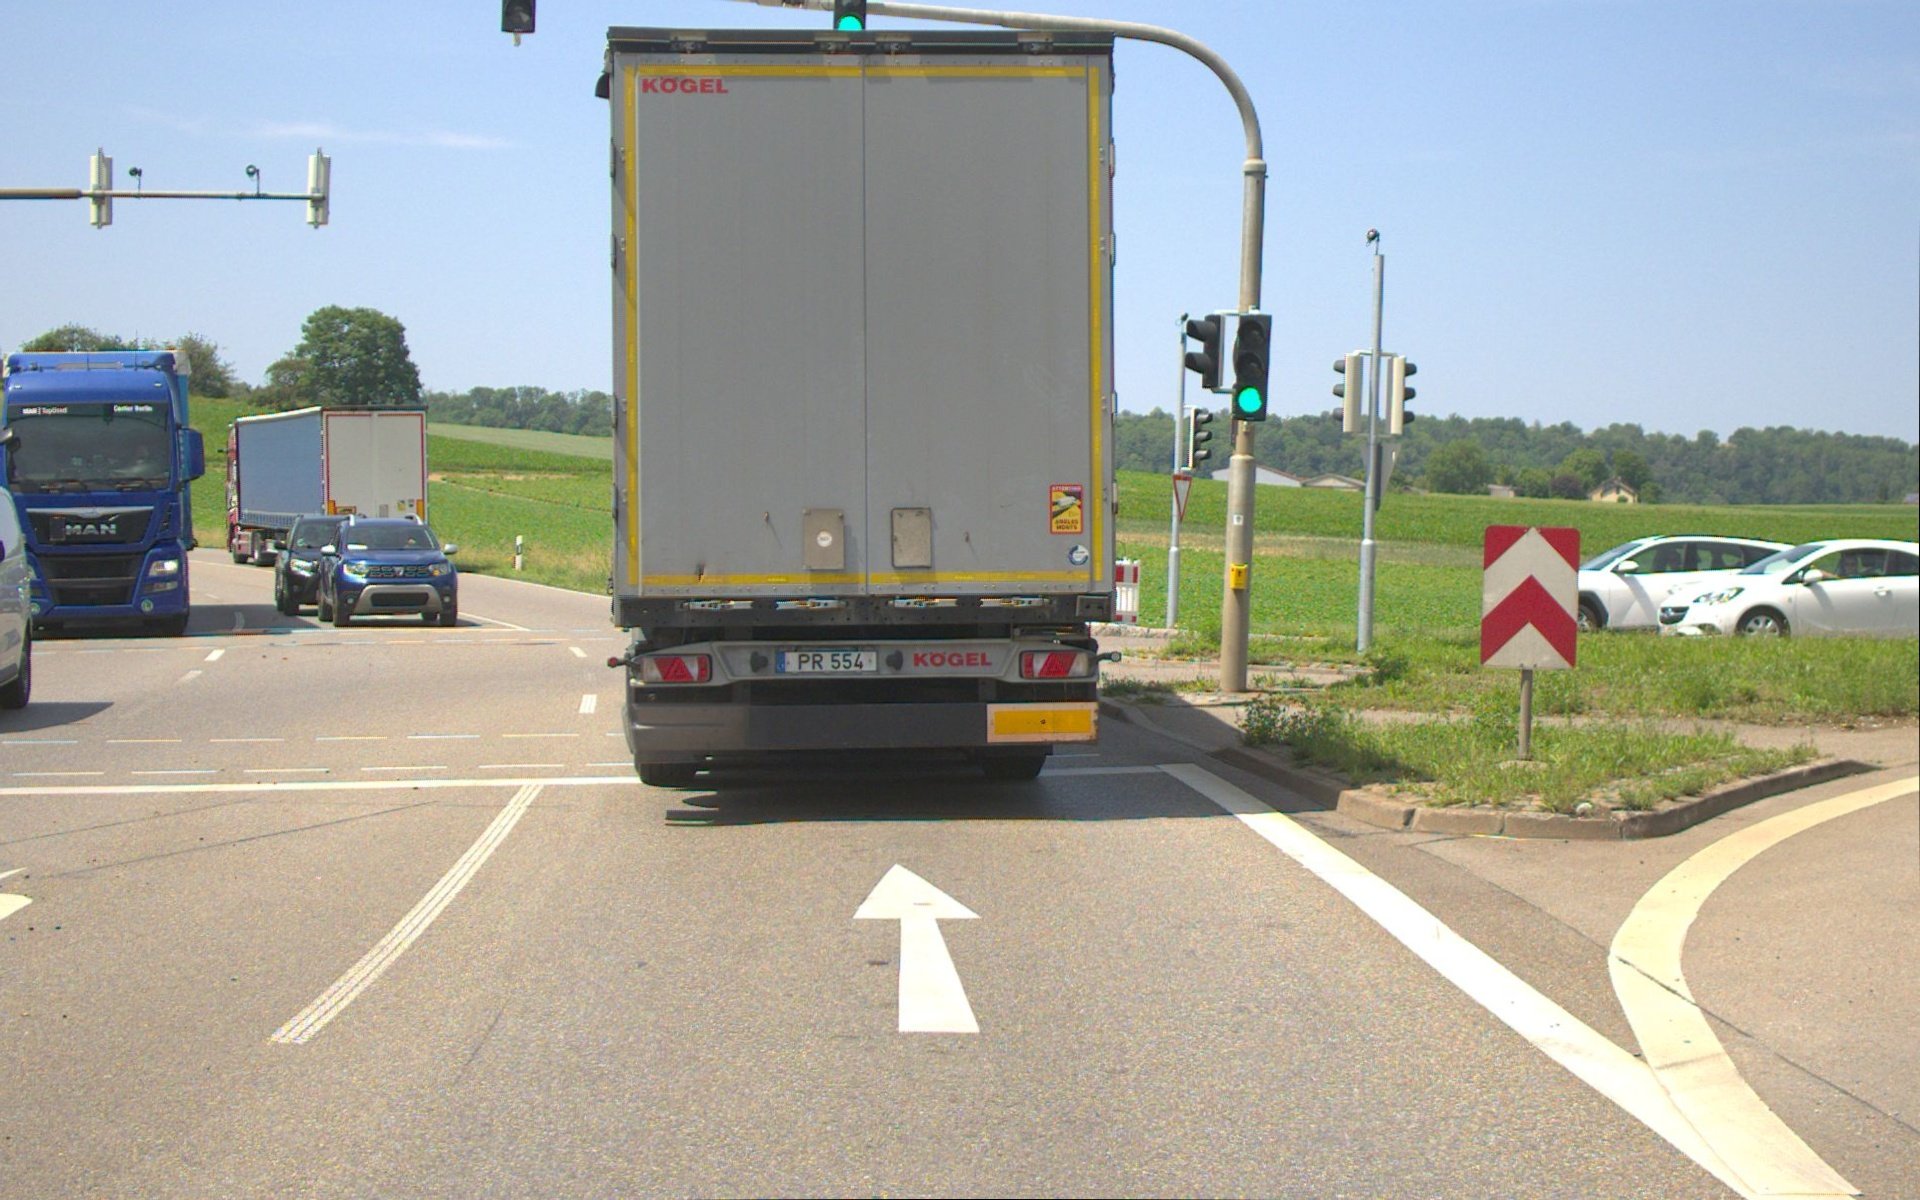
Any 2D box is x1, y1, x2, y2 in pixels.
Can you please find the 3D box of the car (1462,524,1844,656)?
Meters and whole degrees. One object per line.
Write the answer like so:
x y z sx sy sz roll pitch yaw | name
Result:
9.292 -0.119 46.322 4.625 1.602 1.999 2 -1 -5 | car

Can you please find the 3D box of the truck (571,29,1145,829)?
-0.841 -0.941 21.866 2.807 3.932 9.592 1 1 -4 | truck

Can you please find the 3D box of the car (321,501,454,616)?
-8.652 -0.638 51.764 1.770 1.652 4.001 0 1 -12 | car

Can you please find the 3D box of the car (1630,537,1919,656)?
10.463 -0.038 42.291 3.958 1.414 1.829 0 0 -10 | car

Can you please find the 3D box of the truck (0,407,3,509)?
-44.106 -5.821 143.074 3.638 4.115 13.094 1 0 -37 | truck

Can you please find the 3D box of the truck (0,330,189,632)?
-12.412 -1.685 49.222 2.566 4.016 6.562 0 2 -12 | truck

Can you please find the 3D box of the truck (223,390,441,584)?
-16.526 -2.695 89.184 2.960 4.568 16.320 0 0 -20 | truck

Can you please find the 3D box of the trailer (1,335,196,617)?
-13.786 -1.966 55.793 2.566 4.016 13.599 0 2 -12 | trailer

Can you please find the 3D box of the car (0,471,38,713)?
-8.433 -0.061 26.878 1.870 1.880 4.953 -1 1 -9 | car

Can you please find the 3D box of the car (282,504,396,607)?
-10.468 -0.763 57.770 1.770 1.652 4.001 0 1 -12 | car
